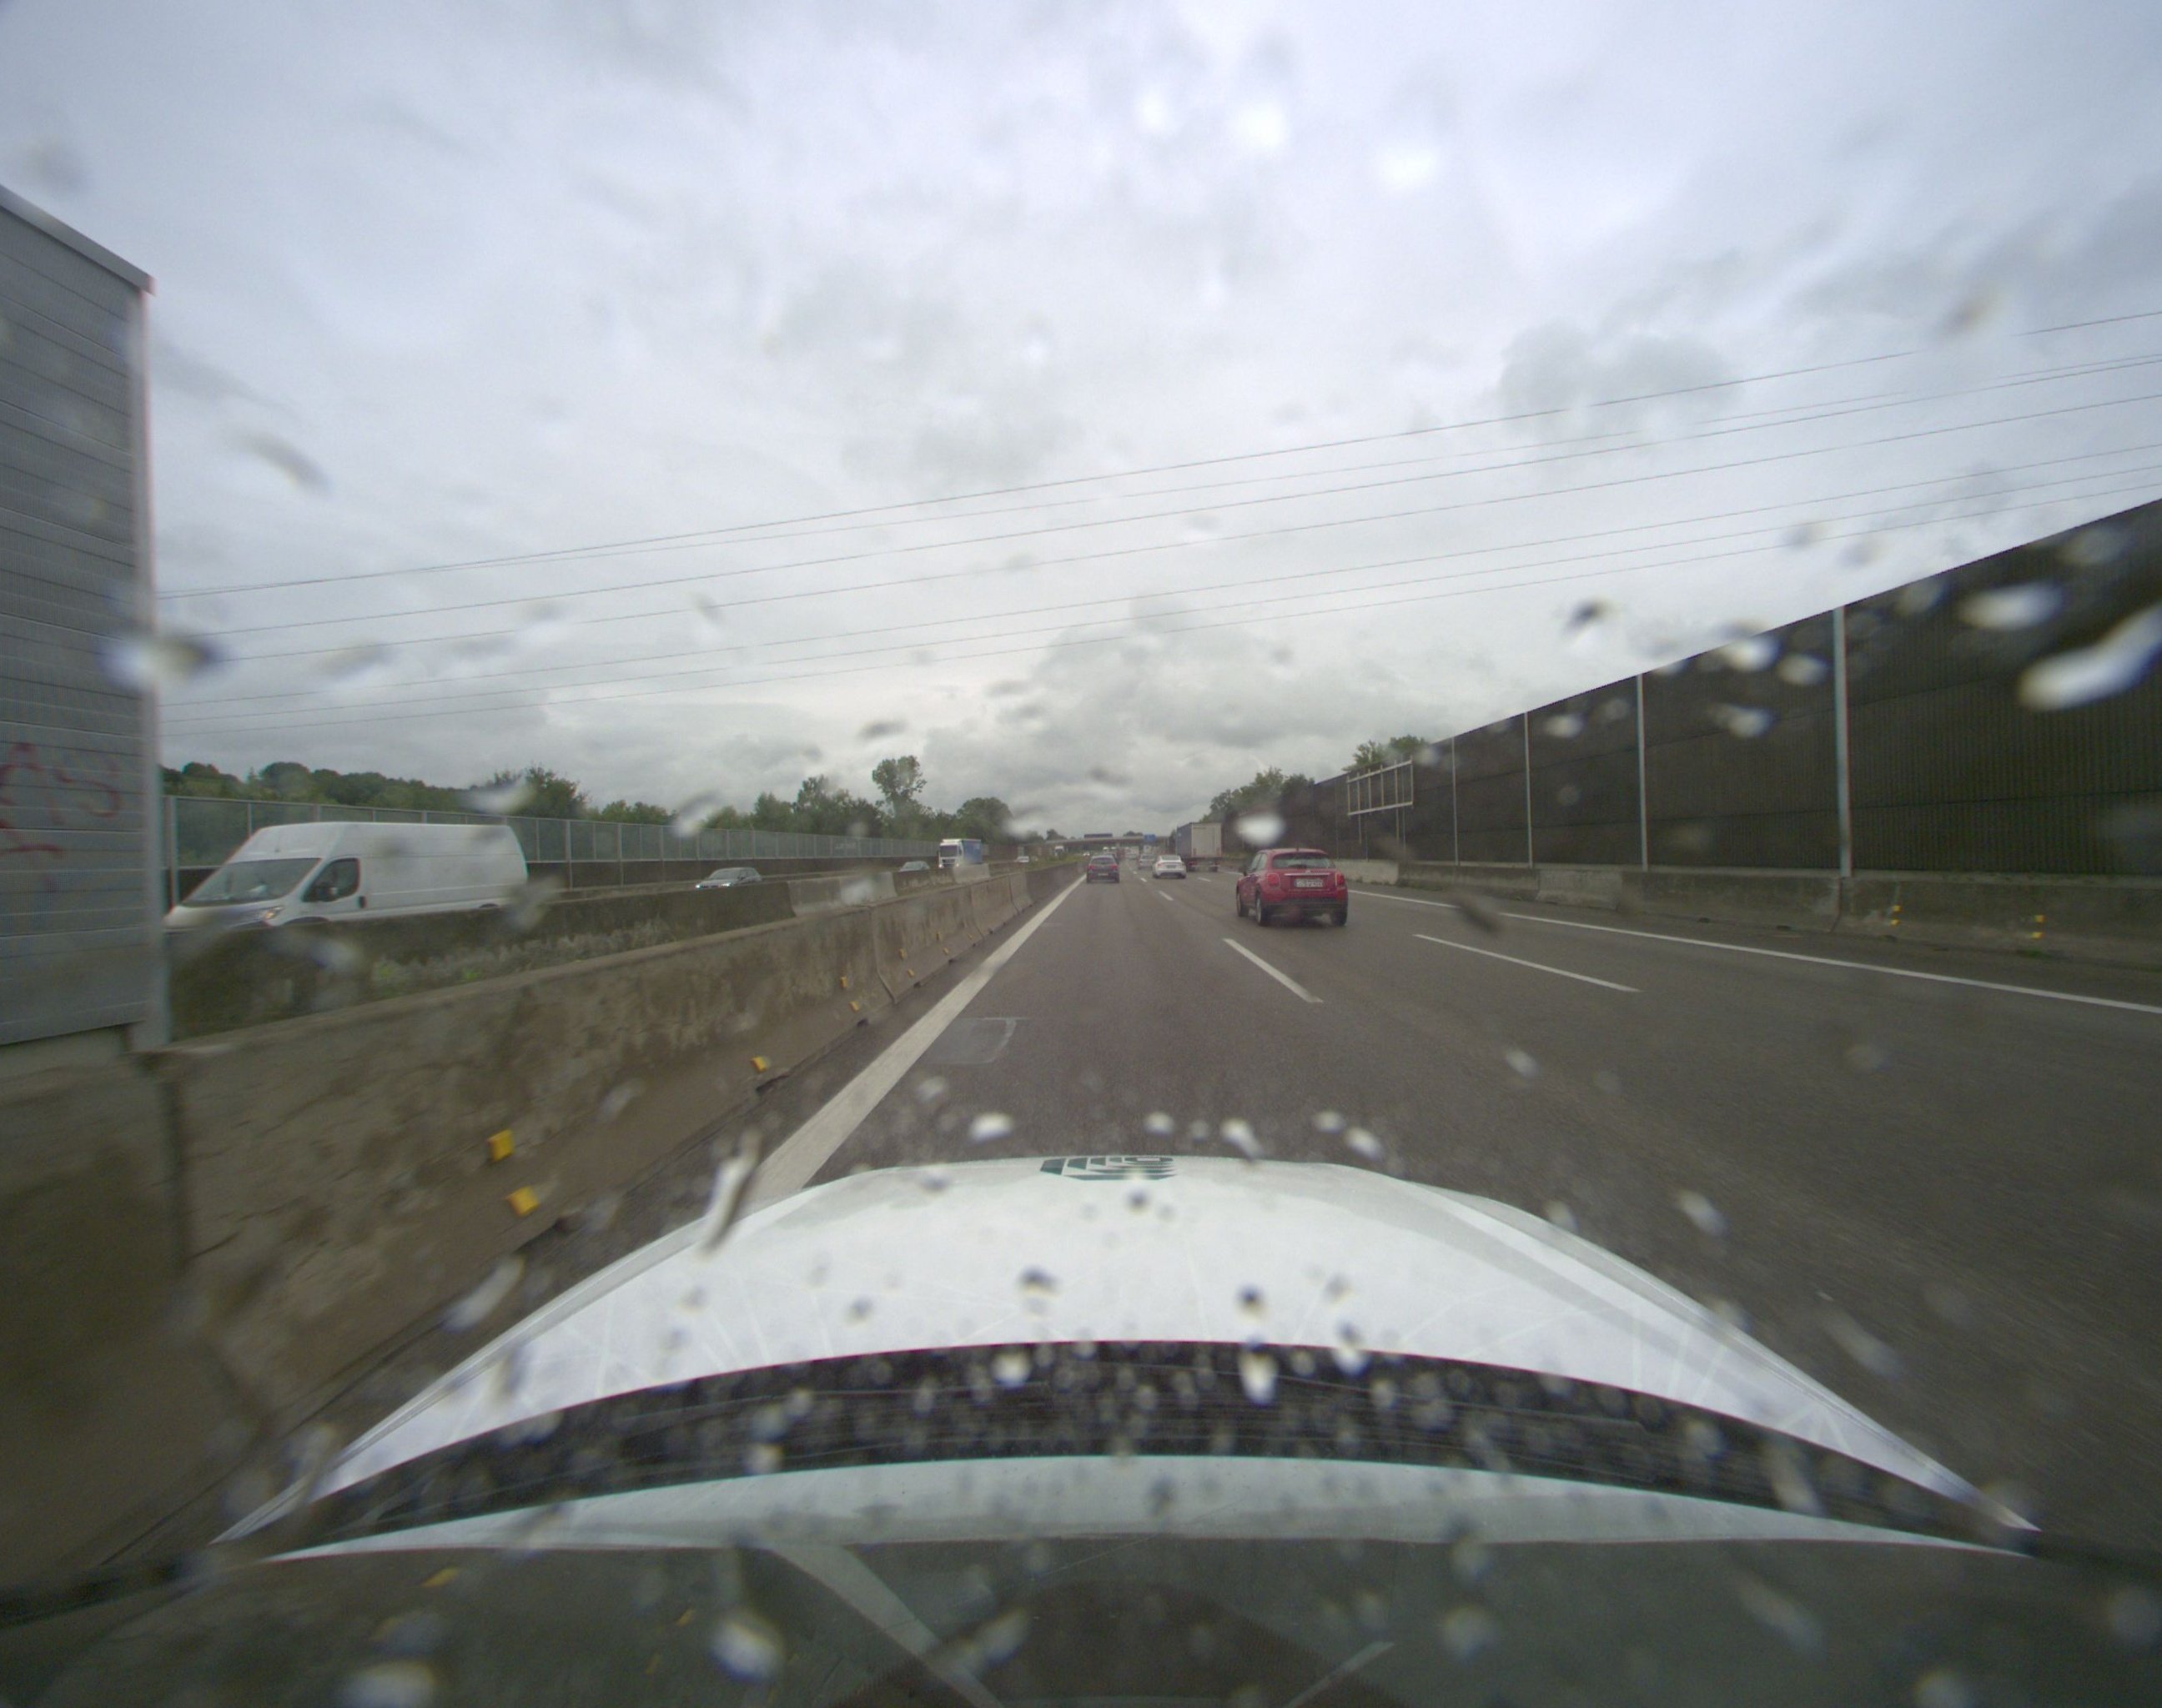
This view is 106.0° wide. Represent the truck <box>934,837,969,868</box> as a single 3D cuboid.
[{"bbox_3d":[-15.670,-0.144,99.123,2.982,3.691,6.884,0,0,1],"label":"truck"}]

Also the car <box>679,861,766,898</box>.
[{"bbox_3d":[-17.125,1.281,39.194,2.113,1.626,4.637,0,-4,0],"label":"car"}]

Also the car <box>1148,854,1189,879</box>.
[{"bbox_3d":[5.319,0.724,49.997,1.988,1.486,3.998,-1,0,-1],"label":"car"}]

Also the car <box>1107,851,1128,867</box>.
[{"bbox_3d":[3.791,0.524,85.208,1.988,1.585,3.998,-2,0,-1],"label":"car"}]

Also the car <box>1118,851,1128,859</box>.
[{"bbox_3d":[8.780,0.266,170.690,1.986,1.624,4.002,-1,0,2],"label":"car"}]

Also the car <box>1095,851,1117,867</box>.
[{"bbox_3d":[2.143,0.413,71.128,1.776,1.406,3.625,-1,0,-1],"label":"car"}]

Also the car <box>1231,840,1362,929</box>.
[{"bbox_3d":[4.540,0.552,17.770,1.949,1.647,4.004,-1,1,3],"label":"car"}]

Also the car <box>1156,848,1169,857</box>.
[{"bbox_3d":[14.011,-0.185,140.197,1.986,1.519,4.001,-1,0,1],"label":"car"}]

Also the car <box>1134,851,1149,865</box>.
[{"bbox_3d":[9.130,0.594,123.828,1.987,2.013,3.999,0,0,0],"label":"car"}]

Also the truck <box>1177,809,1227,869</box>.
[{"bbox_3d":[10.010,-1.157,68.217,3.034,4.734,7.679,0,0,0],"label":"truck"}]

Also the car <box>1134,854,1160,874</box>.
[{"bbox_3d":[5.297,0.809,65.875,1.986,1.519,4.002,0,0,2],"label":"car"}]

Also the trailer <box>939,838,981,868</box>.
[{"bbox_3d":[-15.513,-0.099,105.719,2.982,3.691,14.062,0,0,2],"label":"trailer"}]

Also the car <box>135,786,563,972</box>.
[{"bbox_3d":[-14.078,0.626,16.723,2.211,2.987,7.073,0,-4,0],"label":"car"}]

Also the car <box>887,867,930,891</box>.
[{"bbox_3d":[-12.943,1.918,61.404,2.211,1.626,4.637,0,-4,0],"label":"car"}]

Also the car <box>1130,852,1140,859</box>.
[{"bbox_3d":[11.953,0.259,180.826,1.986,1.519,4.001,-1,0,1],"label":"car"}]

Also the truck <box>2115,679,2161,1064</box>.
[{"bbox_3d":[8.040,0.125,2.438,2.351,2.506,6.150,0,0,4],"label":"truck"}]

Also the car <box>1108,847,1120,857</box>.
[{"bbox_3d":[5.915,-0.402,144.530,1.987,1.815,3.999,0,0,0],"label":"car"}]

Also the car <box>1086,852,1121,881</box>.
[{"bbox_3d":[1.178,0.642,43.706,1.758,1.453,4.000,0,0,0],"label":"car"}]

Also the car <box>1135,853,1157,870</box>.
[{"bbox_3d":[6.169,0.658,77.254,1.697,1.543,3.837,-1,0,-1],"label":"car"}]
